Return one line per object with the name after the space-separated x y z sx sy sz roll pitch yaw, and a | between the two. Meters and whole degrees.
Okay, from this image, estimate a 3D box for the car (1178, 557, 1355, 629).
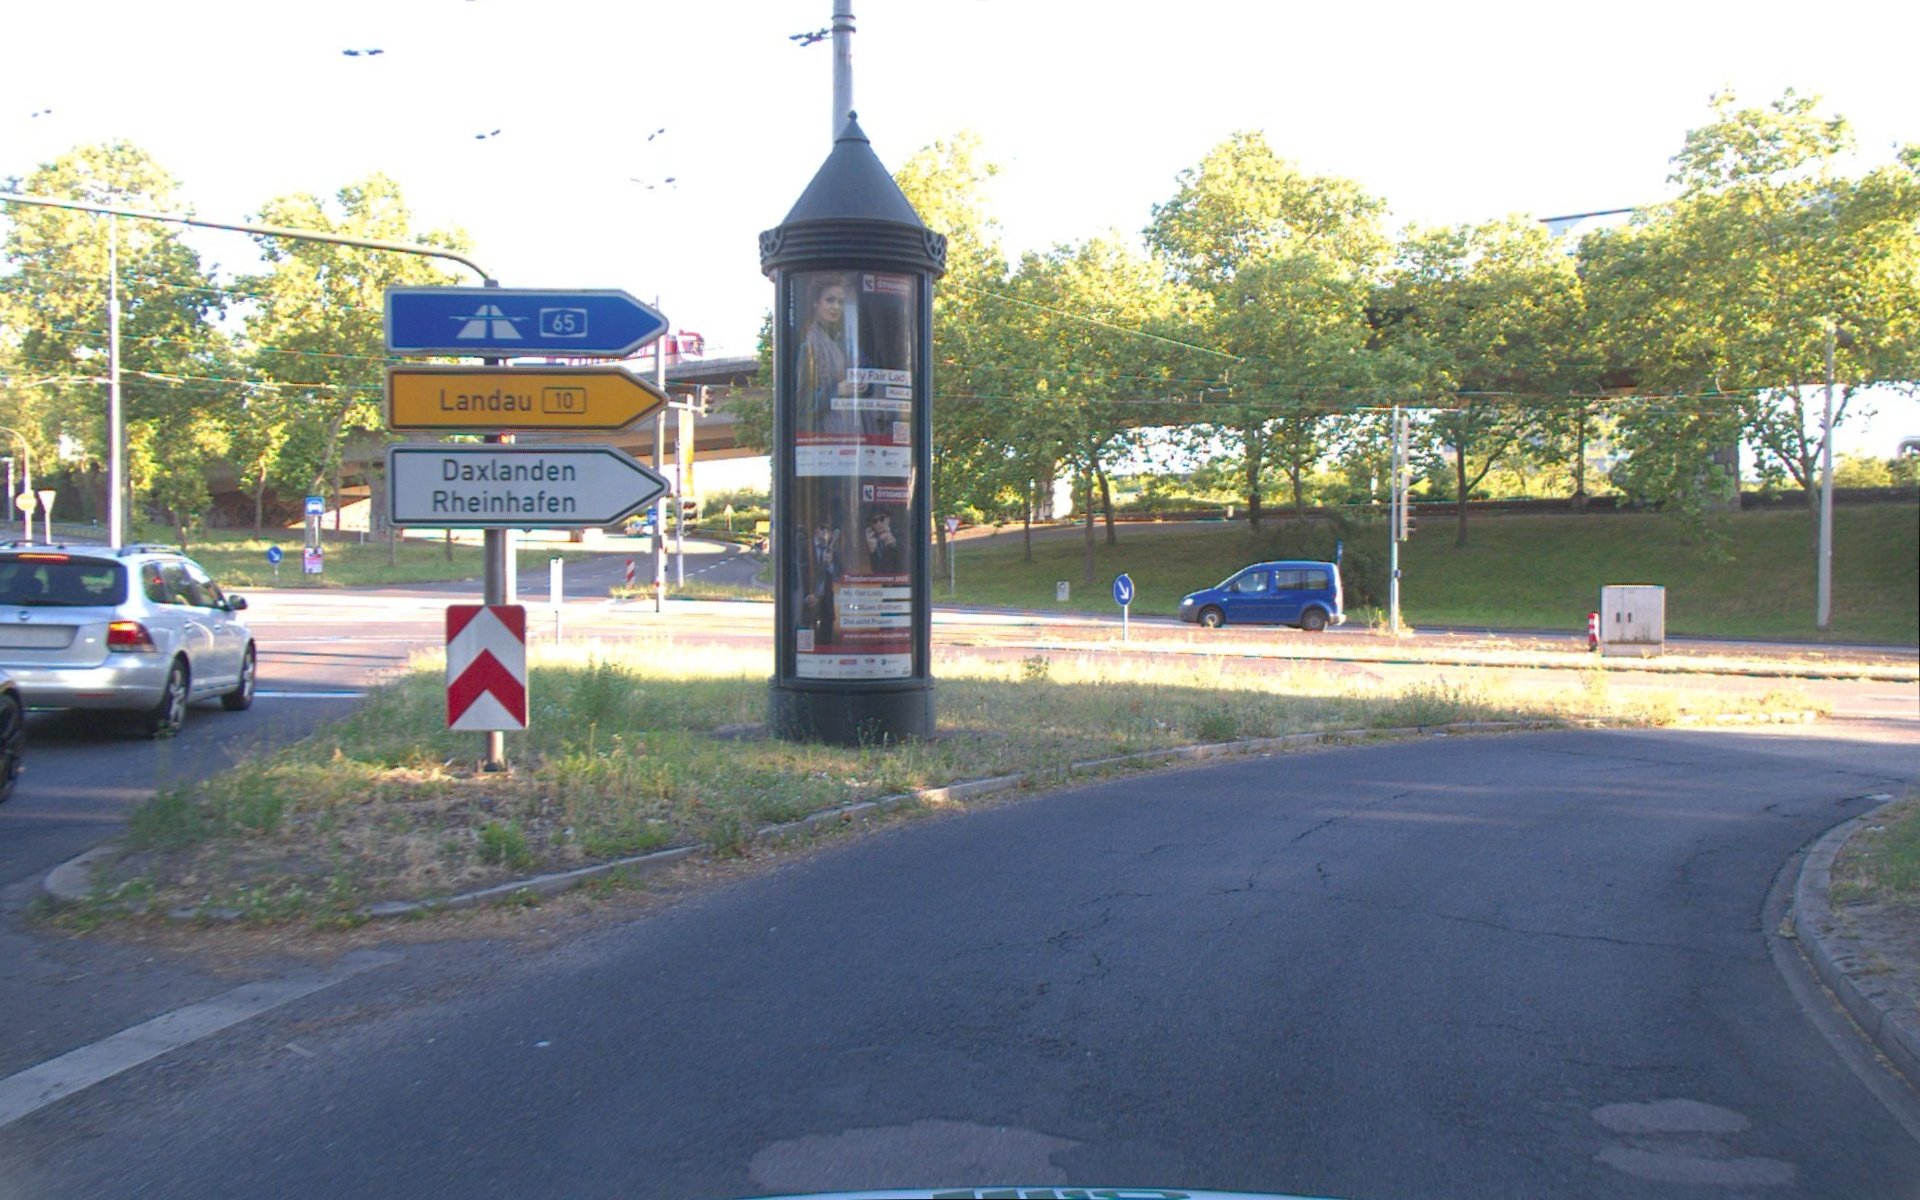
7.989 -0.201 43.468 4.408 1.722 2.002 2 1 7 | car

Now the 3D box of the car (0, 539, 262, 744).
-7.240 0.253 13.974 1.761 1.467 3.987 -2 2 -13 | car

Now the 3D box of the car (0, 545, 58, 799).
-5.910 0.462 7.740 1.761 1.406 4.462 -2 2 -13 | car
